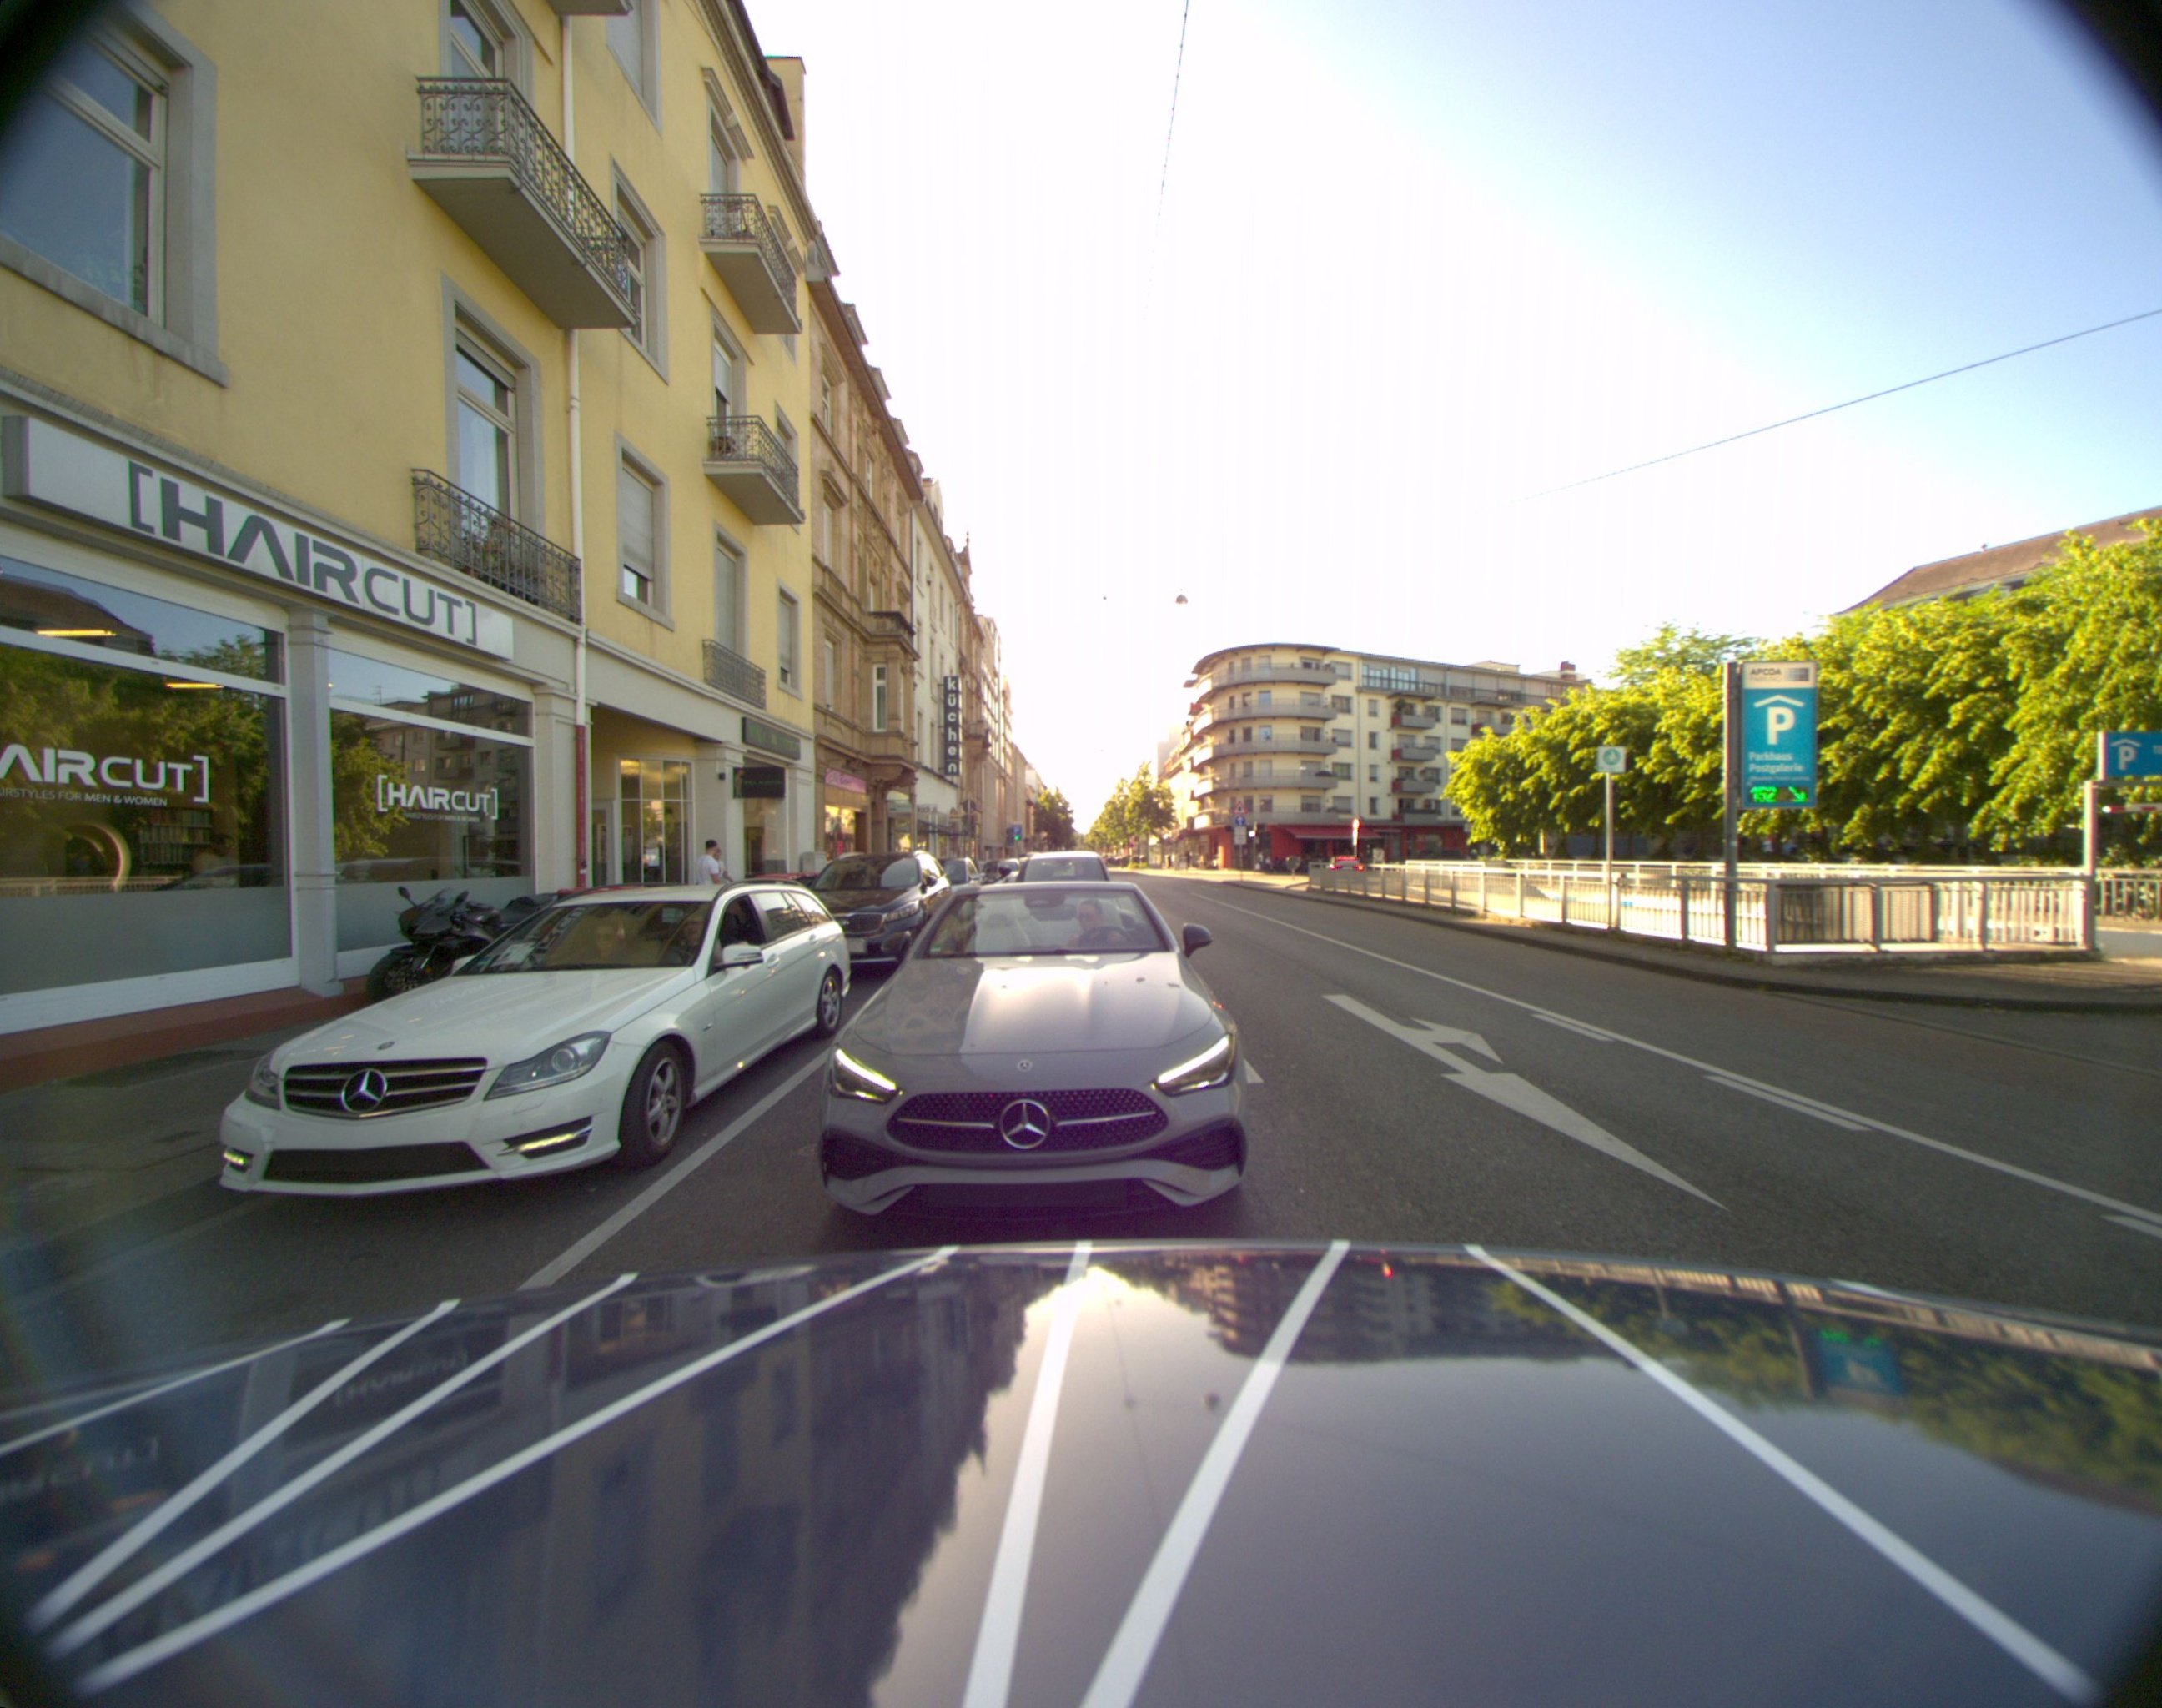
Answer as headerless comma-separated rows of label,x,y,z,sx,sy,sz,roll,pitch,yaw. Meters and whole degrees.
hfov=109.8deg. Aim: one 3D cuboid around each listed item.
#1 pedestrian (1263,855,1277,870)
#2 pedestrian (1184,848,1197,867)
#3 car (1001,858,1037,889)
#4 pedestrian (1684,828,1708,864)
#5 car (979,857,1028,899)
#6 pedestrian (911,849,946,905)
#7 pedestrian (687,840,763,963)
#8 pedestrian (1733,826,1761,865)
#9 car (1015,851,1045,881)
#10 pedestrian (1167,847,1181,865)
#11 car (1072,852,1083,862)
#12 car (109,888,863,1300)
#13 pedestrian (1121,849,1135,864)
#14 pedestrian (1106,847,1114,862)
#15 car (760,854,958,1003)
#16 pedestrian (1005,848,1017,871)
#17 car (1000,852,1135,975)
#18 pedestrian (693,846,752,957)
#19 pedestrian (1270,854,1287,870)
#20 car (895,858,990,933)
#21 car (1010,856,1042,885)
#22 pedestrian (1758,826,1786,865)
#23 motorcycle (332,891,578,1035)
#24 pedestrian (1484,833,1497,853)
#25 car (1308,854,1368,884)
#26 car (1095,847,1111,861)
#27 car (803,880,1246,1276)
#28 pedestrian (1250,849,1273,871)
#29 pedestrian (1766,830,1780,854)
pedestrian,14.920,0.665,60.048,0.780,1.191,0.884,-2,1,-10
pedestrian,10.155,0.306,70.306,1.060,1.739,0.962,-2,1,1
car,-2.956,0.900,36.690,1.461,1.310,3.363,-2,1,-1
pedestrian,31.961,-0.427,39.498,0.748,1.832,0.683,-3,1,-21
car,-3.027,0.903,30.321,1.695,1.482,3.796,-2,1,-3
pedestrian,-4.830,0.715,24.081,0.838,1.709,0.818,-3,1,-25
pedestrian,-5.681,0.730,12.126,0.975,1.866,0.534,-3,1,-31
pedestrian,32.219,-0.391,36.785,0.748,1.852,0.683,-2,1,-13
car,-3.154,0.716,47.556,1.695,1.670,3.880,-2,1,-3
pedestrian,8.899,0.202,72.922,1.069,1.709,1.080,-2,1,-2
car,-0.626,0.500,123.934,1.695,1.437,3.575,-2,1,-2
car,-3.026,1.073,5.255,1.672,1.364,4.377,-2,1,1
pedestrian,5.878,0.277,94.916,1.223,1.826,1.201,-3,1,-22
pedestrian,4.462,0.090,116.854,1.117,2.328,1.029,-2,1,1
car,-3.013,0.891,11.347,1.806,1.680,4.408,-2,1,-3
pedestrian,-5.385,0.427,58.449,0.826,1.750,0.823,-2,1,-1
car,-0.248,0.845,13.216,1.866,1.658,4.706,-2,1,-2
pedestrian,-6.149,0.795,13.069,0.630,1.826,0.770,-2,1,-7
pedestrian,15.427,0.653,59.390,0.937,1.191,0.832,-3,1,-24
car,-3.182,0.906,17.998,1.583,1.514,2.998,-2,1,1
car,-2.944,0.866,40.958,1.461,1.391,3.362,-2,1,-1
pedestrian,33.407,-0.426,36.734,0.748,1.832,0.683,-2,1,-13
motorcycle,-6.255,1.024,7.797,0.735,1.124,2.109,2,1,1
pedestrian,38.360,-1.000,71.178,0.747,1.832,0.684,-2,1,1
car,13.845,0.801,41.179,1.676,1.521,4.250,-1,-1,-2
car,2.891,0.017,101.088,1.836,1.831,3.886,1,1,-2
car,-0.281,0.998,5.367,1.769,1.360,4.471,-2,1,-2
pedestrian,14.075,0.435,59.292,1.269,1.656,1.142,-1,1,44
pedestrian,46.201,-0.821,50.715,0.494,1.570,0.493,-3,1,-24
